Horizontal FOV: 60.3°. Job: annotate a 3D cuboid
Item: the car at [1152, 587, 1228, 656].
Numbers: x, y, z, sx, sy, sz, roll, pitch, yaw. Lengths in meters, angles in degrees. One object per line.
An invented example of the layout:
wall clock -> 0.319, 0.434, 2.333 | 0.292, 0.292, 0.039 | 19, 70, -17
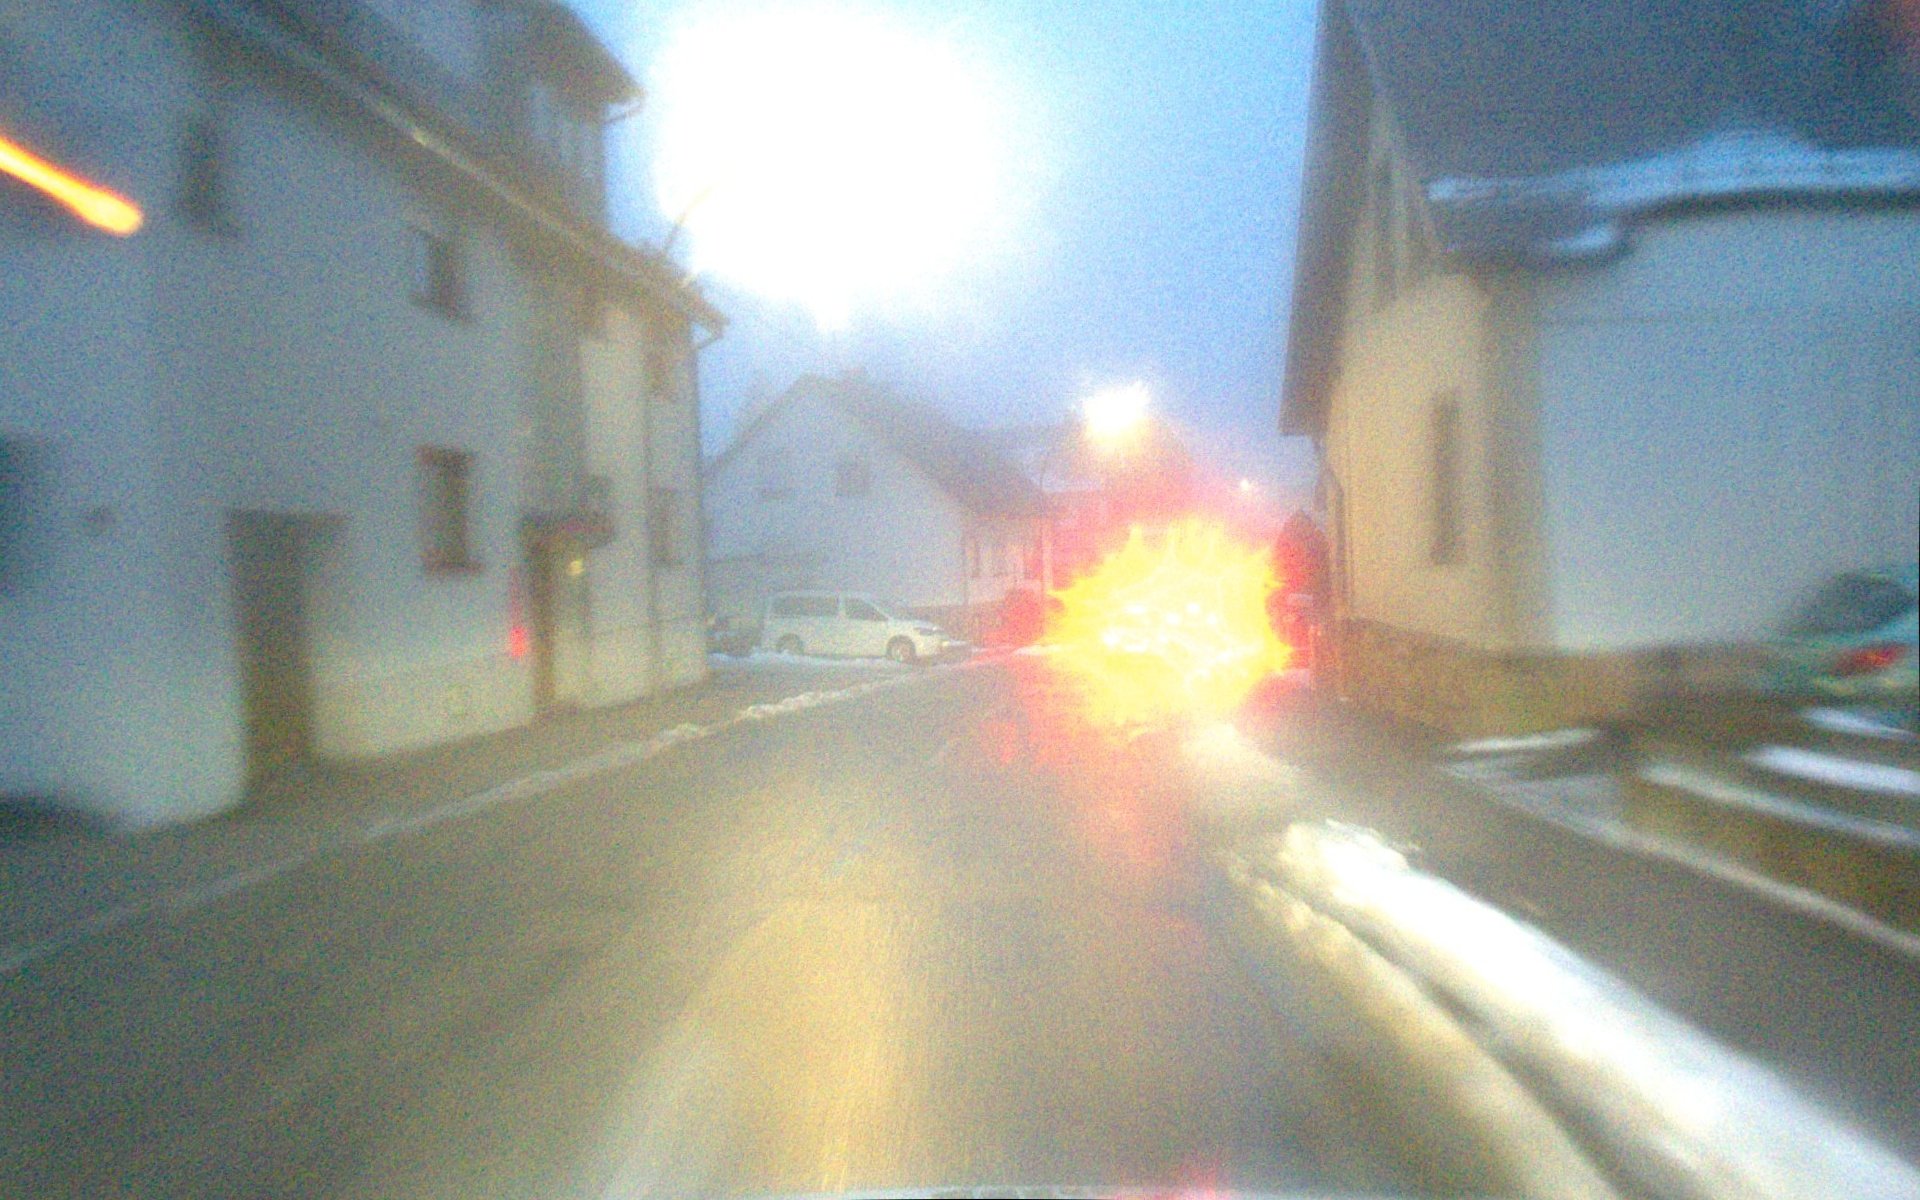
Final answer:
car -> 7.701, 0.670, 55.094 | 1.951, 1.869, 4.005 | -4, 3, 15

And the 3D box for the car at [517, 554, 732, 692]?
car -> -6.681, 0.397, 32.933 | 3.921, 2.316, 1.993 | -5, 3, -14

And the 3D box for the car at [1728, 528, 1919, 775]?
car -> 7.386, 0.275, 10.836 | 3.904, 1.478, 1.715 | 0, 3, 1

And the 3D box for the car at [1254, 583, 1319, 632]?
car -> 14.414, 0.289, 72.765 | 2.204, 1.667, 4.854 | -3, 3, 18

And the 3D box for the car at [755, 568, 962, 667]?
car -> -2.508, 0.434, 41.254 | 4.633, 2.048, 2.002 | -3, 3, 18

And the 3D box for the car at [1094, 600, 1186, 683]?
car -> 4.441, 0.965, 40.310 | 1.951, 1.533, 4.005 | -4, 3, 9
